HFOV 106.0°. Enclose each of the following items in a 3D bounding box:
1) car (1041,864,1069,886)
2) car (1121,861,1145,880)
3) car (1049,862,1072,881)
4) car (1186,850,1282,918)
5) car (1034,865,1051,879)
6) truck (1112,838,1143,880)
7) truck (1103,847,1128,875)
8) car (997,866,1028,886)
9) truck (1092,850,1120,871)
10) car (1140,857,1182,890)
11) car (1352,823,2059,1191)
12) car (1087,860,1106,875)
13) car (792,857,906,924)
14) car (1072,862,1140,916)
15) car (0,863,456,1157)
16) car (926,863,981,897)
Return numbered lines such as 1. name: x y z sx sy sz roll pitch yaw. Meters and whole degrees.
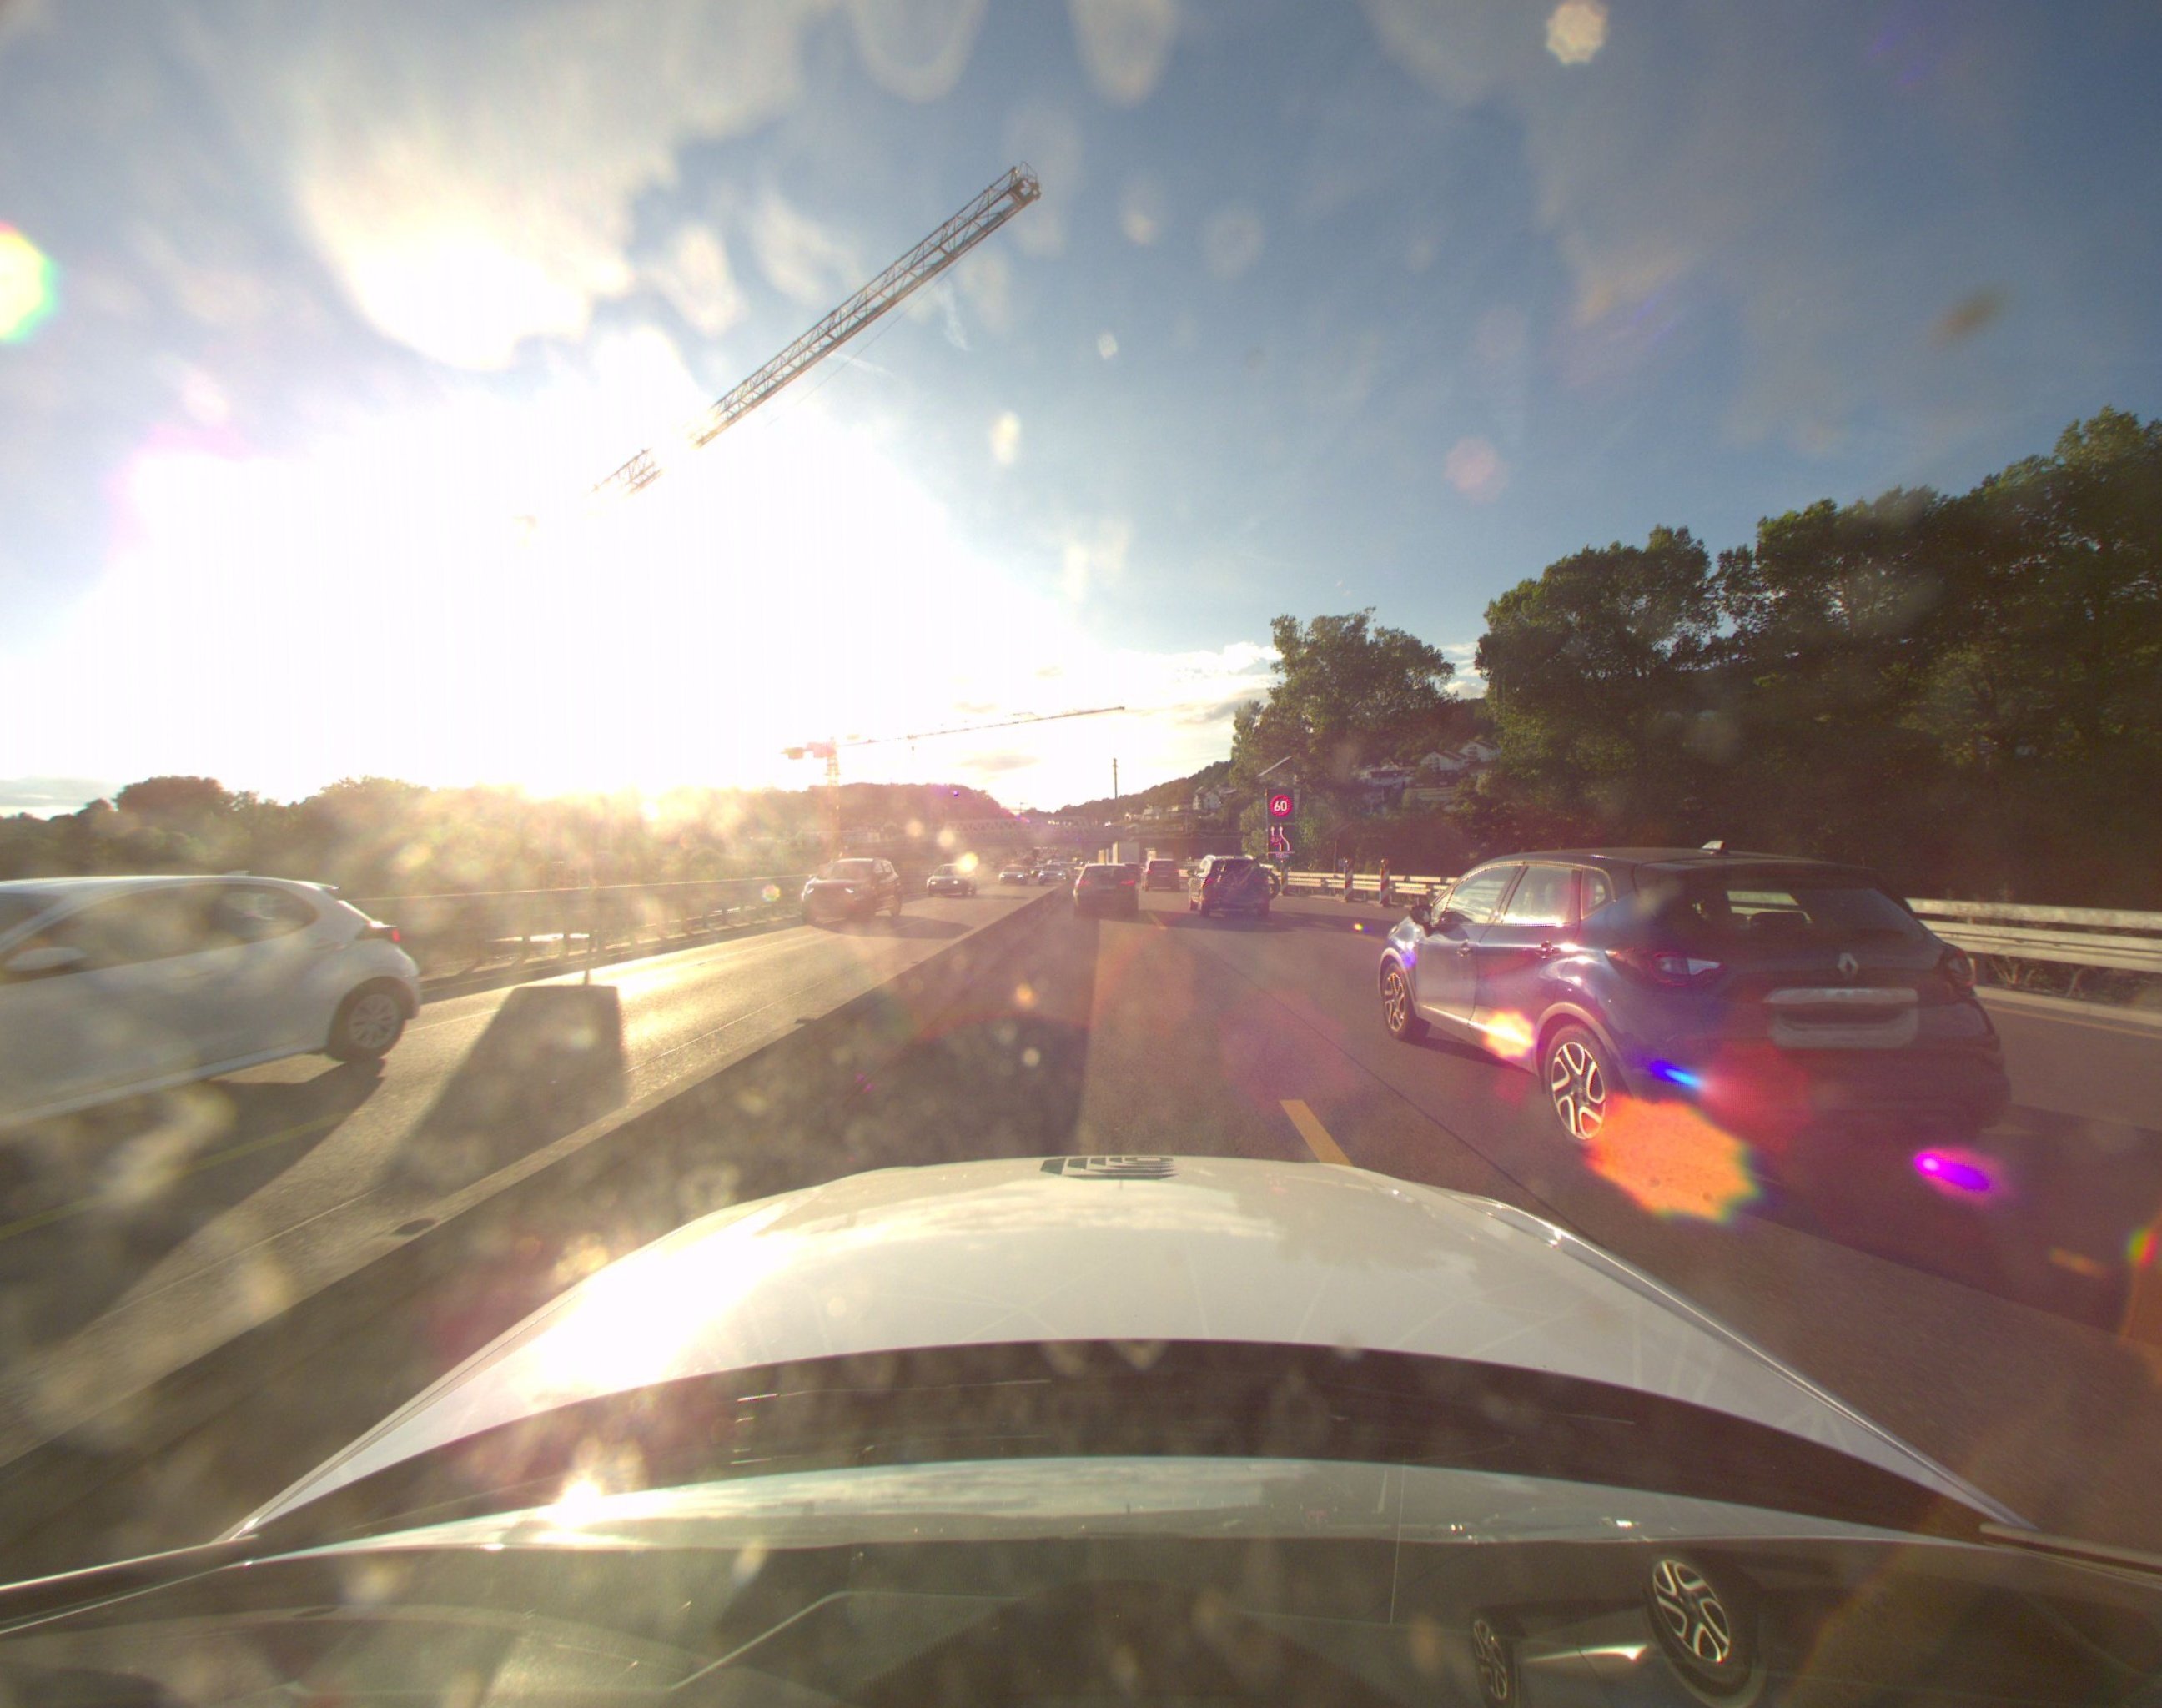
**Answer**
1. car: -1.843 1.473 58.011 1.798 1.512 4.000 -1 0 0
2. car: 4.399 1.377 68.954 1.764 1.553 3.998 0 -1 -1
3. car: -1.937 1.633 76.929 1.987 1.759 4.660 -1 -1 0
4. car: 3.989 0.748 22.063 1.868 1.599 4.968 -1 -1 3
5. car: -4.458 2.071 95.559 1.704 1.552 4.001 -2 0 1
6. truck: 5.430 0.407 97.330 3.372 4.497 15.276 0 1 2
7. truck: 5.824 1.078 138.648 3.877 4.498 15.269 0 0 1
8. car: -4.989 1.637 60.109 1.768 1.382 4.532 -2 -1 1
9. truck: 5.439 1.326 178.560 3.888 4.498 13.810 0 0 -8
10. car: 4.128 0.996 42.817 1.808 1.632 4.411 0 -1 0
11. car: 3.393 0.664 5.602 1.767 1.586 4.136 0 0 1
12. car: 1.498 1.323 81.020 1.760 1.486 3.998 0 -1 -1
13. car: -6.037 0.887 21.676 1.773 1.571 4.001 -2 0 1
14. car: 0.630 0.922 23.020 1.764 1.390 3.998 0 -1 -1
15. car: -6.301 0.830 5.033 1.695 1.445 4.001 -2 0 1
16. car: -5.767 1.151 37.406 1.671 1.422 4.580 0 0 2
